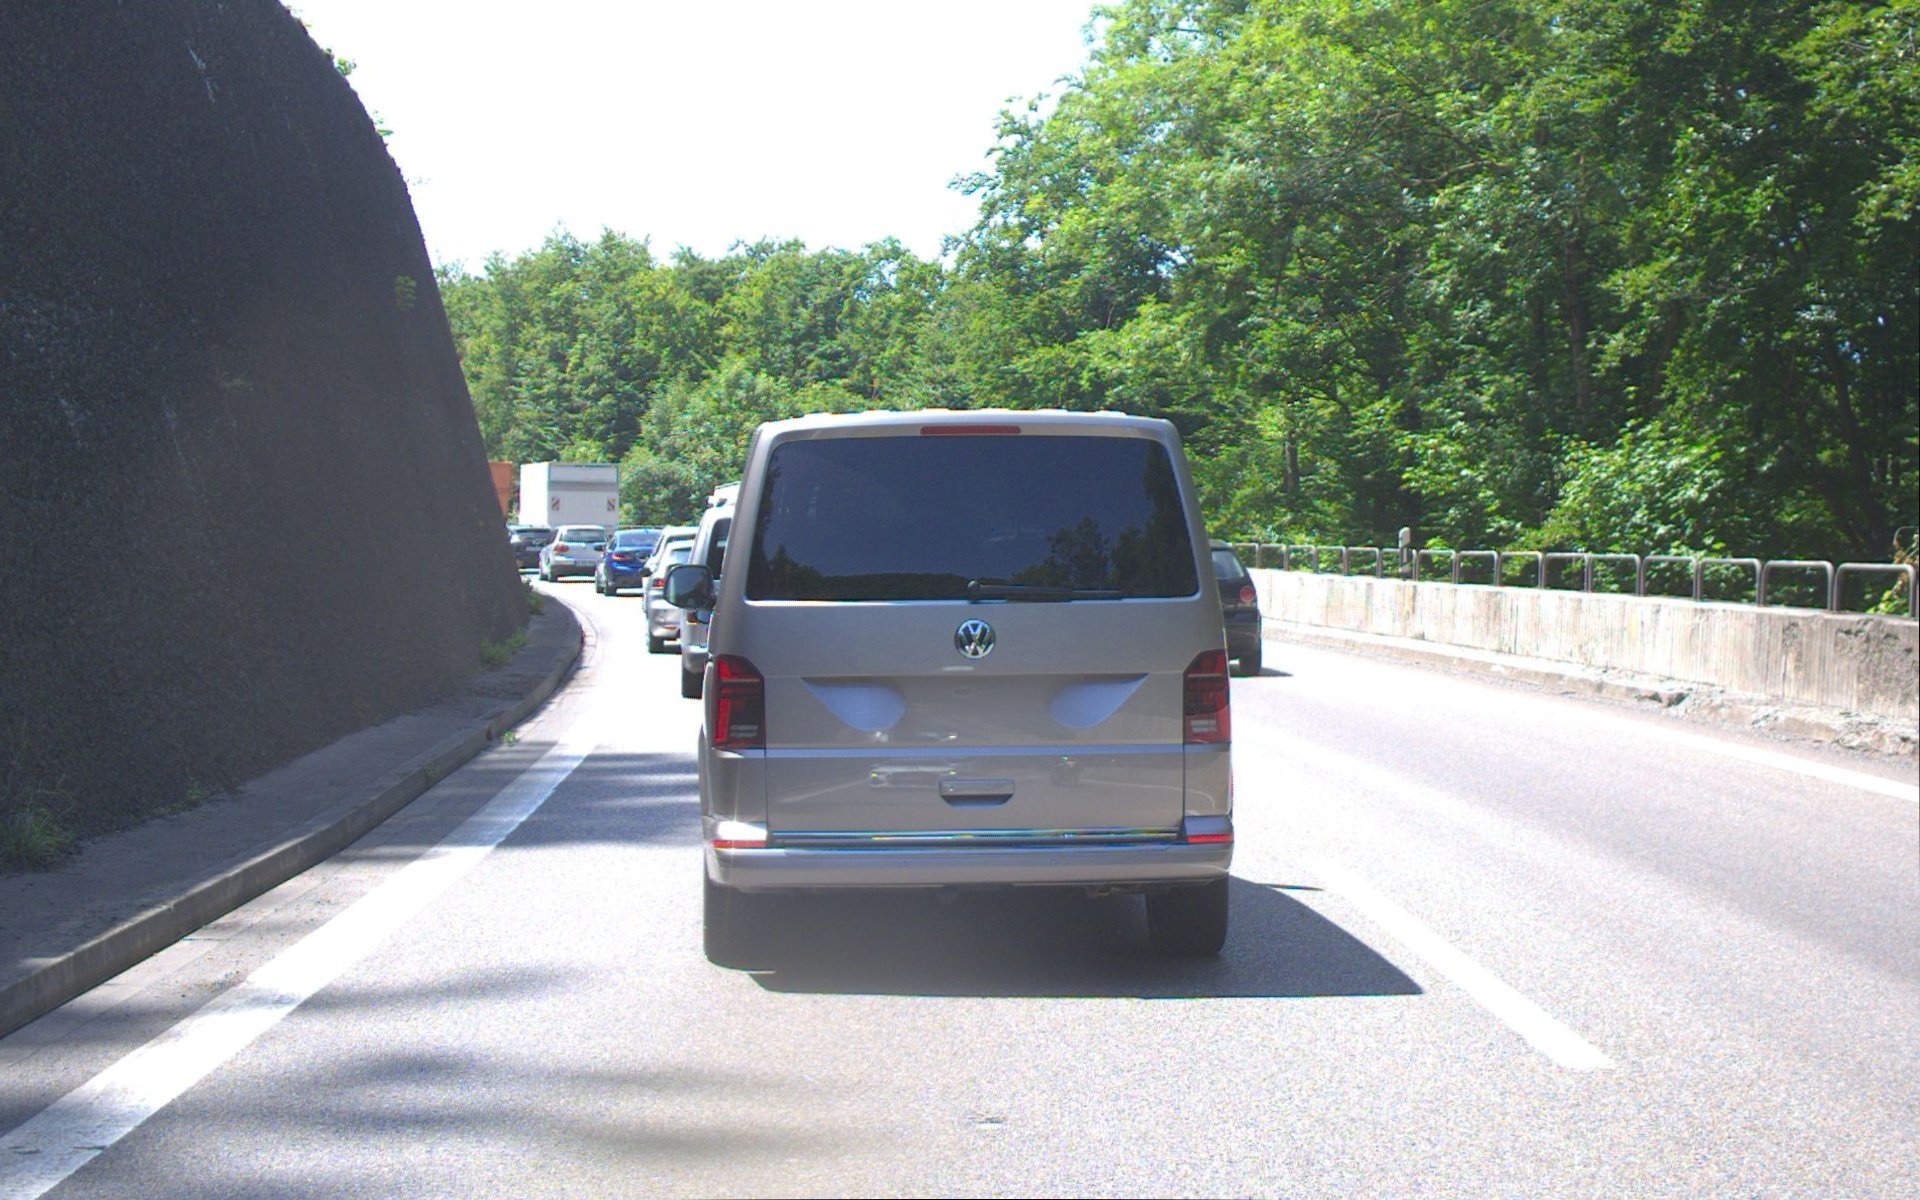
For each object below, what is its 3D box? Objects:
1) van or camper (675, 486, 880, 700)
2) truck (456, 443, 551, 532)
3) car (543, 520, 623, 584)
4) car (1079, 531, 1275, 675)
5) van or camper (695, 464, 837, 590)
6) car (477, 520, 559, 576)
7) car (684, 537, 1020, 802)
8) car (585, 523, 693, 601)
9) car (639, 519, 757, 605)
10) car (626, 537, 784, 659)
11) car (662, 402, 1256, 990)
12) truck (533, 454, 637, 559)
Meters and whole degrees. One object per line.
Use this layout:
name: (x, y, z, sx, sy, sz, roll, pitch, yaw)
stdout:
van or camper: (-1.816, -0.110, 33.307, 1.853, 1.935, 4.166, 0, 1, -4)
truck: (-19.610, -4.838, 147.250, 3.162, 3.456, 8.225, 5, 1, -12)
car: (-9.799, -1.269, 89.604, 1.993, 1.612, 4.001, 1, 1, -5)
car: (2.324, -0.012, 37.708, 1.685, 1.453, 4.001, 1, 1, -3)
van or camper: (-4.916, -1.866, 85.988, 2.603, 2.845, 6.338, 4, 1, -10)
car: (-13.010, -1.538, 100.996, 1.750, 1.565, 3.772, 1, 1, -17)
car: (-0.795, 0.364, 22.048, 1.904, 1.484, 4.380, 1, 1, -5)
car: (-6.993, -0.838, 74.646, 1.857, 1.614, 4.001, 1, 1, -12)
car: (-4.705, -0.707, 61.360, 1.862, 1.481, 4.001, 0, 1, -8)
car: (-3.268, -0.061, 44.704, 1.771, 1.467, 4.000, 1, 1, 0)
car: (-0.086, 0.268, 13.691, 1.940, 1.924, 4.695, 1, 1, -2)
truck: (-13.576, -3.356, 123.913, 2.924, 3.674, 7.727, 0, 1, -12)
